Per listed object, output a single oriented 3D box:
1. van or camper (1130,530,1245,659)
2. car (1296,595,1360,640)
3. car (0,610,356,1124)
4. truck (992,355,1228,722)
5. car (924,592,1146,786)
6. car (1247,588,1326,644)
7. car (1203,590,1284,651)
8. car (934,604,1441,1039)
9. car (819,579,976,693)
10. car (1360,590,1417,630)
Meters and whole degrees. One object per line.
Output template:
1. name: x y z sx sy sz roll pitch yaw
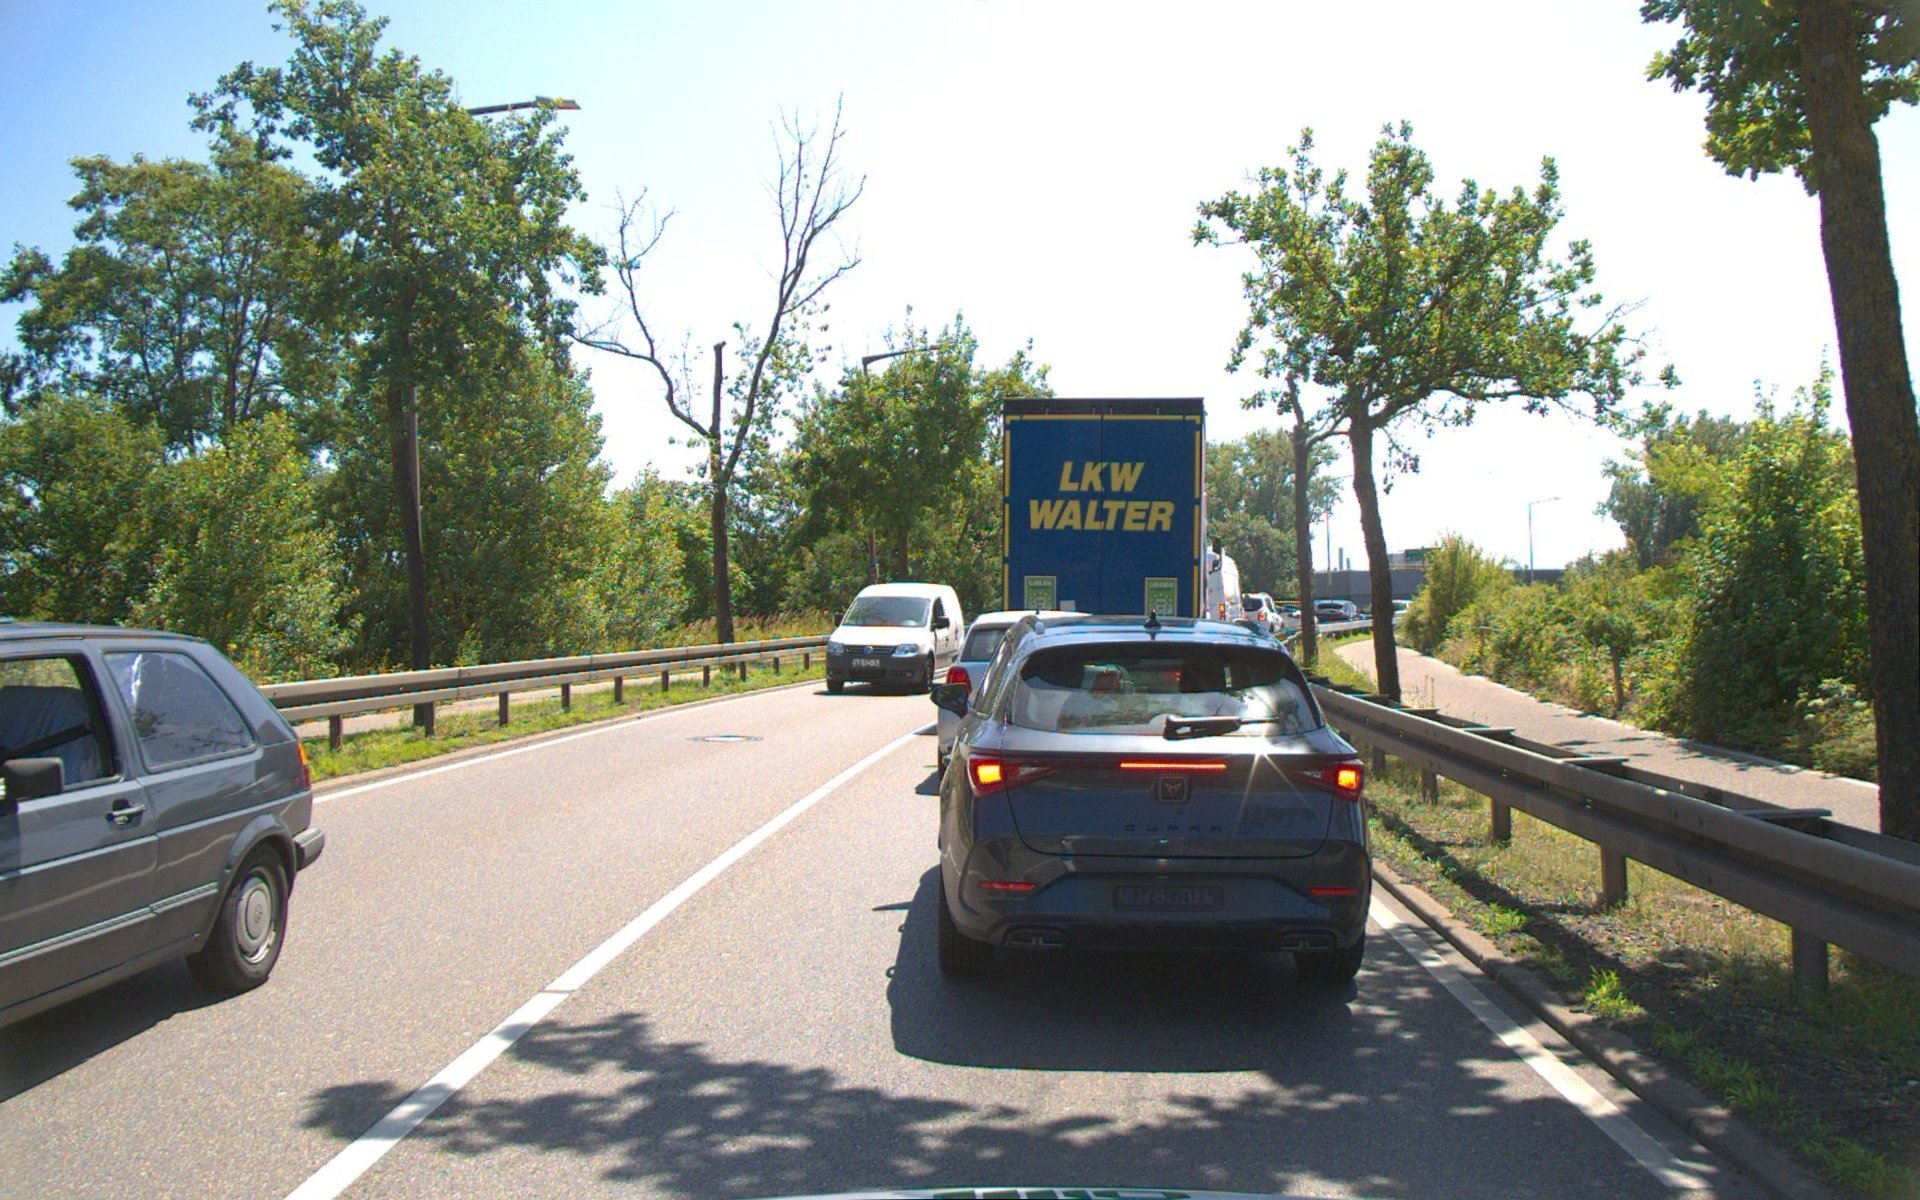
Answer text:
1. van or camper: 5.917 -0.128 42.343 2.413 3.051 6.091 1 0 12
2. car: 14.952 0.698 67.032 1.952 1.747 4.869 1 0 20
3. car: -3.392 0.745 5.059 1.524 1.396 3.889 1 0 2
4. truck: 3.004 -0.739 28.897 2.887 4.526 16.811 1 0 8
5. car: 0.608 0.723 15.336 1.772 1.534 4.000 1 0 0
6. car: 11.287 0.542 56.970 1.952 1.840 4.846 1 0 20
7. car: 8.720 0.614 50.592 1.951 1.742 4.623 1 0 16
8. car: 0.755 0.757 7.547 1.709 1.457 3.879 1 0 -1
9. car: -0.993 0.580 28.635 1.708 1.794 4.392 1 0 11
10. car: 20.231 0.479 77.983 1.953 1.799 4.754 1 0 22
